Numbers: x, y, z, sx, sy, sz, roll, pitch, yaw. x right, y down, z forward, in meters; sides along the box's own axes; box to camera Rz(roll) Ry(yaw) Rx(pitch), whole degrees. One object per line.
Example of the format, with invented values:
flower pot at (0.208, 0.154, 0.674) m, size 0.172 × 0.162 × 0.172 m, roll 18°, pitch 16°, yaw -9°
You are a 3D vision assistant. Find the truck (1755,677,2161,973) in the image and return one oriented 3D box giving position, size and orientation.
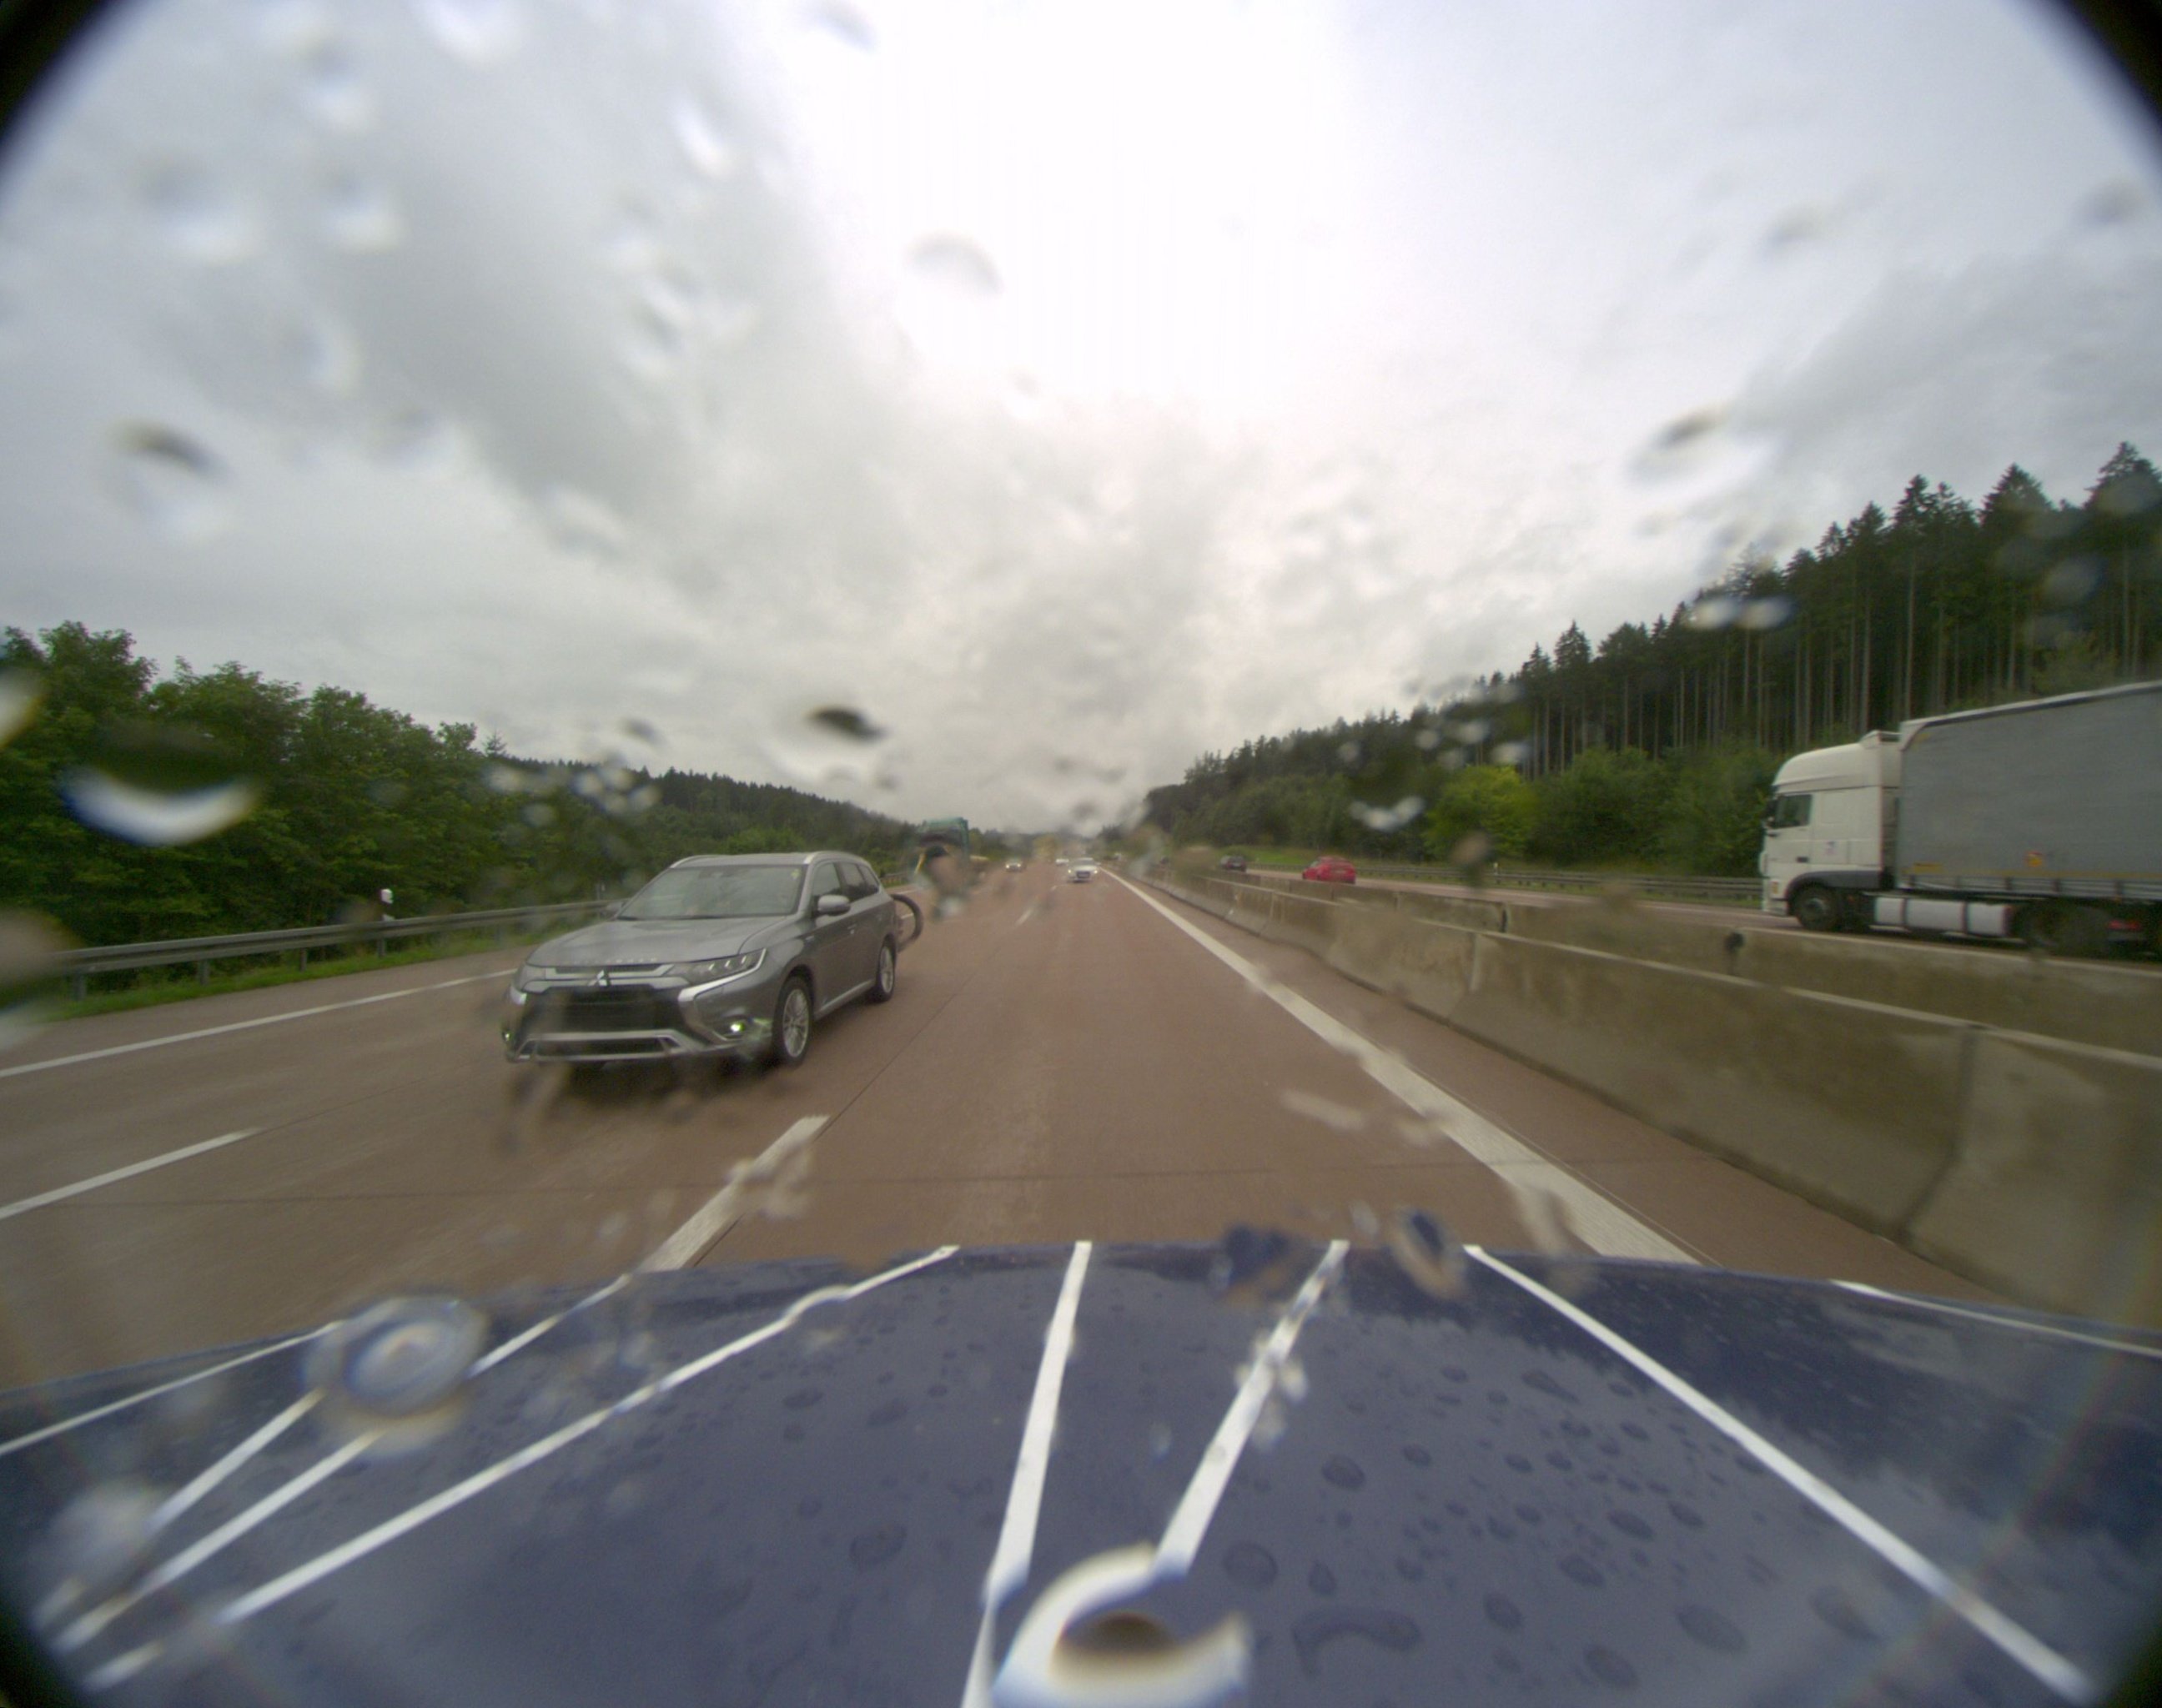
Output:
truck at (16.199, -0.469, 13.661) m, size 2.775 × 4.152 × 6.000 m, roll 0°, pitch 2°, yaw 1°

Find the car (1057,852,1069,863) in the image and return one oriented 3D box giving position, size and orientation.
car at (-3.013, 0.568, 126.547) m, size 1.999 × 1.623 × 4.929 m, roll -2°, pitch 1°, yaw -1°

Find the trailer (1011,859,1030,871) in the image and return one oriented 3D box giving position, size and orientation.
trailer at (-7.091, 1.279, 89.455) m, size 1.977 × 1.159 × 4.638 m, roll -2°, pitch 0°, yaw -1°

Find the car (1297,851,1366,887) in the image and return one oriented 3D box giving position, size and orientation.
car at (12.167, 0.686, 37.254) m, size 1.998 × 1.536 × 4.279 m, roll 1°, pitch 1°, yaw 1°

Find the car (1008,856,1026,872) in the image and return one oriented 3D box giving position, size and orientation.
car at (-7.114, 1.089, 84.764) m, size 1.702 × 1.602 × 4.974 m, roll -1°, pitch 1°, yaw -2°

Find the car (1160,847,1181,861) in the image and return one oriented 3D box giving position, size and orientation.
car at (12.942, 0.017, 110.278) m, size 2.286 × 1.851 × 5.726 m, roll -2°, pitch 1°, yaw 1°

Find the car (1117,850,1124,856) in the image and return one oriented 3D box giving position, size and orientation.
car at (11.600, -0.291, 224.434) m, size 1.720 × 1.573 × 4.315 m, roll 0°, pitch 1°, yaw -1°

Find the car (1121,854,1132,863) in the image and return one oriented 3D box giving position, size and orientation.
car at (9.330, 0.852, 156.800) m, size 1.998 × 1.551 × 4.945 m, roll -2°, pitch 1°, yaw 0°

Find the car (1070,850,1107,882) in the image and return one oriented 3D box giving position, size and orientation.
car at (0.361, 0.637, 45.184) m, size 1.999 × 1.623 × 4.929 m, roll -2°, pitch 1°, yaw -1°

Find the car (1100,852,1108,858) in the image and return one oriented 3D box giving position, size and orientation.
car at (6.328, 0.232, 208.146) m, size 1.869 × 1.542 × 4.807 m, roll -2°, pitch 0°, yaw 0°

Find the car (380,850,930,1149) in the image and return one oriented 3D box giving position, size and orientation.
car at (-3.089, 0.852, 7.403) m, size 1.998 × 1.583 × 5.818 m, roll -2°, pitch 1°, yaw 0°

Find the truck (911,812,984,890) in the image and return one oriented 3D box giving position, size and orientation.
truck at (-7.431, -0.203, 43.248) m, size 2.905 × 3.942 × 6.986 m, roll -2°, pitch 1°, yaw -1°

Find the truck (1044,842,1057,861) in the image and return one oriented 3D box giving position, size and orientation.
truck at (-7.005, -0.596, 174.294) m, size 2.610 × 4.190 × 6.247 m, roll -2°, pitch 2°, yaw -1°

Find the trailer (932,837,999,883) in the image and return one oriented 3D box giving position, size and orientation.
trailer at (-7.562, 0.304, 51.297) m, size 2.889 × 2.660 × 11.395 m, roll -2°, pitch 1°, yaw -1°

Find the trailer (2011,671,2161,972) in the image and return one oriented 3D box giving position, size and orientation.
trailer at (16.091, -0.317, 5.615) m, size 2.746 × 4.116 × 12.752 m, roll 1°, pitch 1°, yaw 1°
